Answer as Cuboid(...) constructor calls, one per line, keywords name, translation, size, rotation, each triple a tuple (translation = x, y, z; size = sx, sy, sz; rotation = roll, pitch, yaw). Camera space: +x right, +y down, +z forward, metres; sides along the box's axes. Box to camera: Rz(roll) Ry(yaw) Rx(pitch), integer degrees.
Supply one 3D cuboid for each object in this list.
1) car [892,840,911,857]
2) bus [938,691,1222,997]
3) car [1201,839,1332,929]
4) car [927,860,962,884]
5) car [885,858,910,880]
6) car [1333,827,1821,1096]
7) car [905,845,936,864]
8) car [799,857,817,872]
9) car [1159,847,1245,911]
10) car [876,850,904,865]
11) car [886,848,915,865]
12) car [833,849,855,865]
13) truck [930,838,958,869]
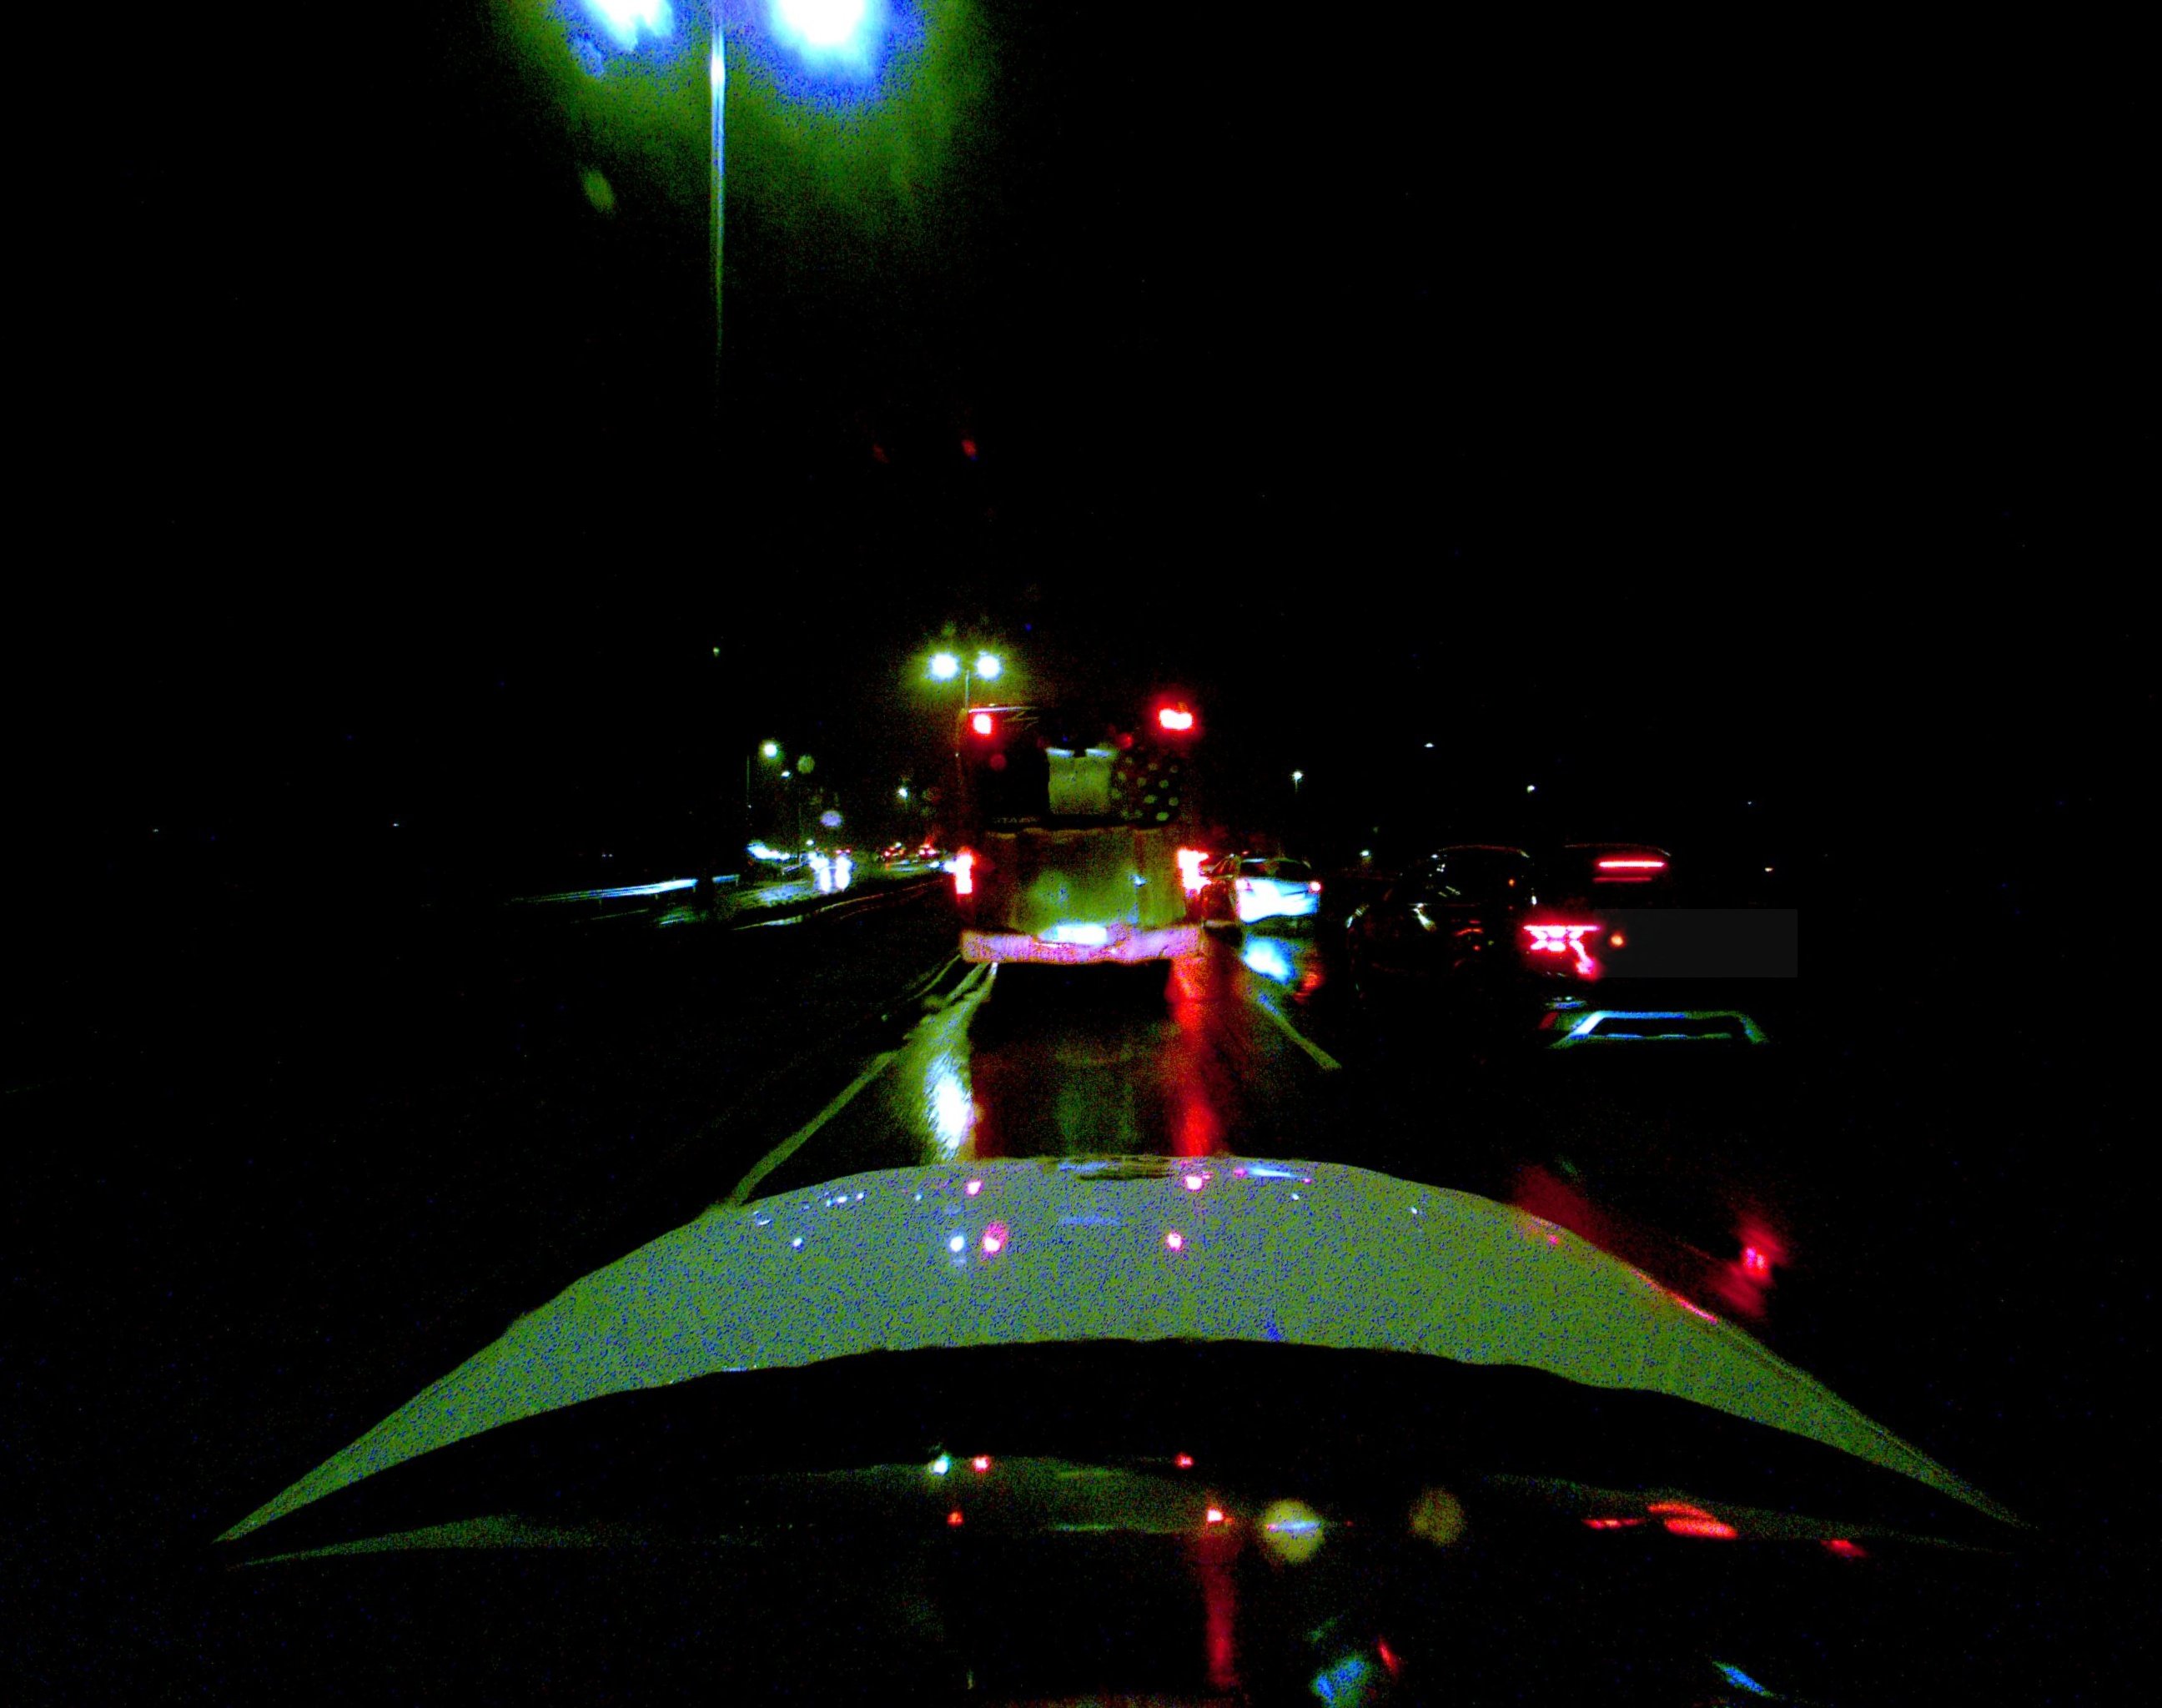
Cuboid(name="car", translation=(-22.868, -0.660, 103.900), size=(2.121, 2.014, 3.987), rotation=(1, -1, -10))
Cuboid(name="bus", translation=(0.127, -0.097, 12.431), size=(2.805, 3.024, 8.690), rotation=(0, 0, 2))
Cuboid(name="car", translation=(3.621, 0.537, 16.560), size=(1.814, 1.590, 3.776), rotation=(-1, 0, 0))
Cuboid(name="car", translation=(-9.035, 1.144, 54.335), size=(1.991, 1.486, 3.992), rotation=(-1, 0, -5))
Cuboid(name="car", translation=(-17.775, 1.399, 78.655), size=(1.999, 2.014, 3.975), rotation=(-1, 0, -18))
Cuboid(name="car", translation=(3.507, 0.635, 6.679), size=(1.733, 1.565, 3.776), rotation=(1, 0, 0))
Cuboid(name="car", translation=(-16.965, 0.057, 85.943), size=(2.006, 2.014, 3.961), rotation=(1, -1, -30))
Cuboid(name="car", translation=(-32.191, 1.252, 95.828), size=(1.793, 1.646, 3.971), rotation=(-1, 0, -21))
Cuboid(name="car", translation=(3.253, 0.639, 22.567), size=(1.814, 1.590, 3.776), rotation=(-1, 0, 0))
Cuboid(name="car", translation=(-21.646, 0.365, 92.185), size=(1.764, 1.631, 3.584), rotation=(1, -1, -36))
Cuboid(name="car", translation=(-22.112, 0.264, 99.633), size=(2.009, 2.013, 3.955), rotation=(-1, 0, -37))
Cuboid(name="car", translation=(-31.638, 0.425, 108.595), size=(2.222, 2.013, 3.967), rotation=(-1, 0, -25))
Cuboid(name="truck", translation=(-12.036, -0.087, 71.204), size=(1.860, 2.392, 4.753), rotation=(-2, 3, -16))
